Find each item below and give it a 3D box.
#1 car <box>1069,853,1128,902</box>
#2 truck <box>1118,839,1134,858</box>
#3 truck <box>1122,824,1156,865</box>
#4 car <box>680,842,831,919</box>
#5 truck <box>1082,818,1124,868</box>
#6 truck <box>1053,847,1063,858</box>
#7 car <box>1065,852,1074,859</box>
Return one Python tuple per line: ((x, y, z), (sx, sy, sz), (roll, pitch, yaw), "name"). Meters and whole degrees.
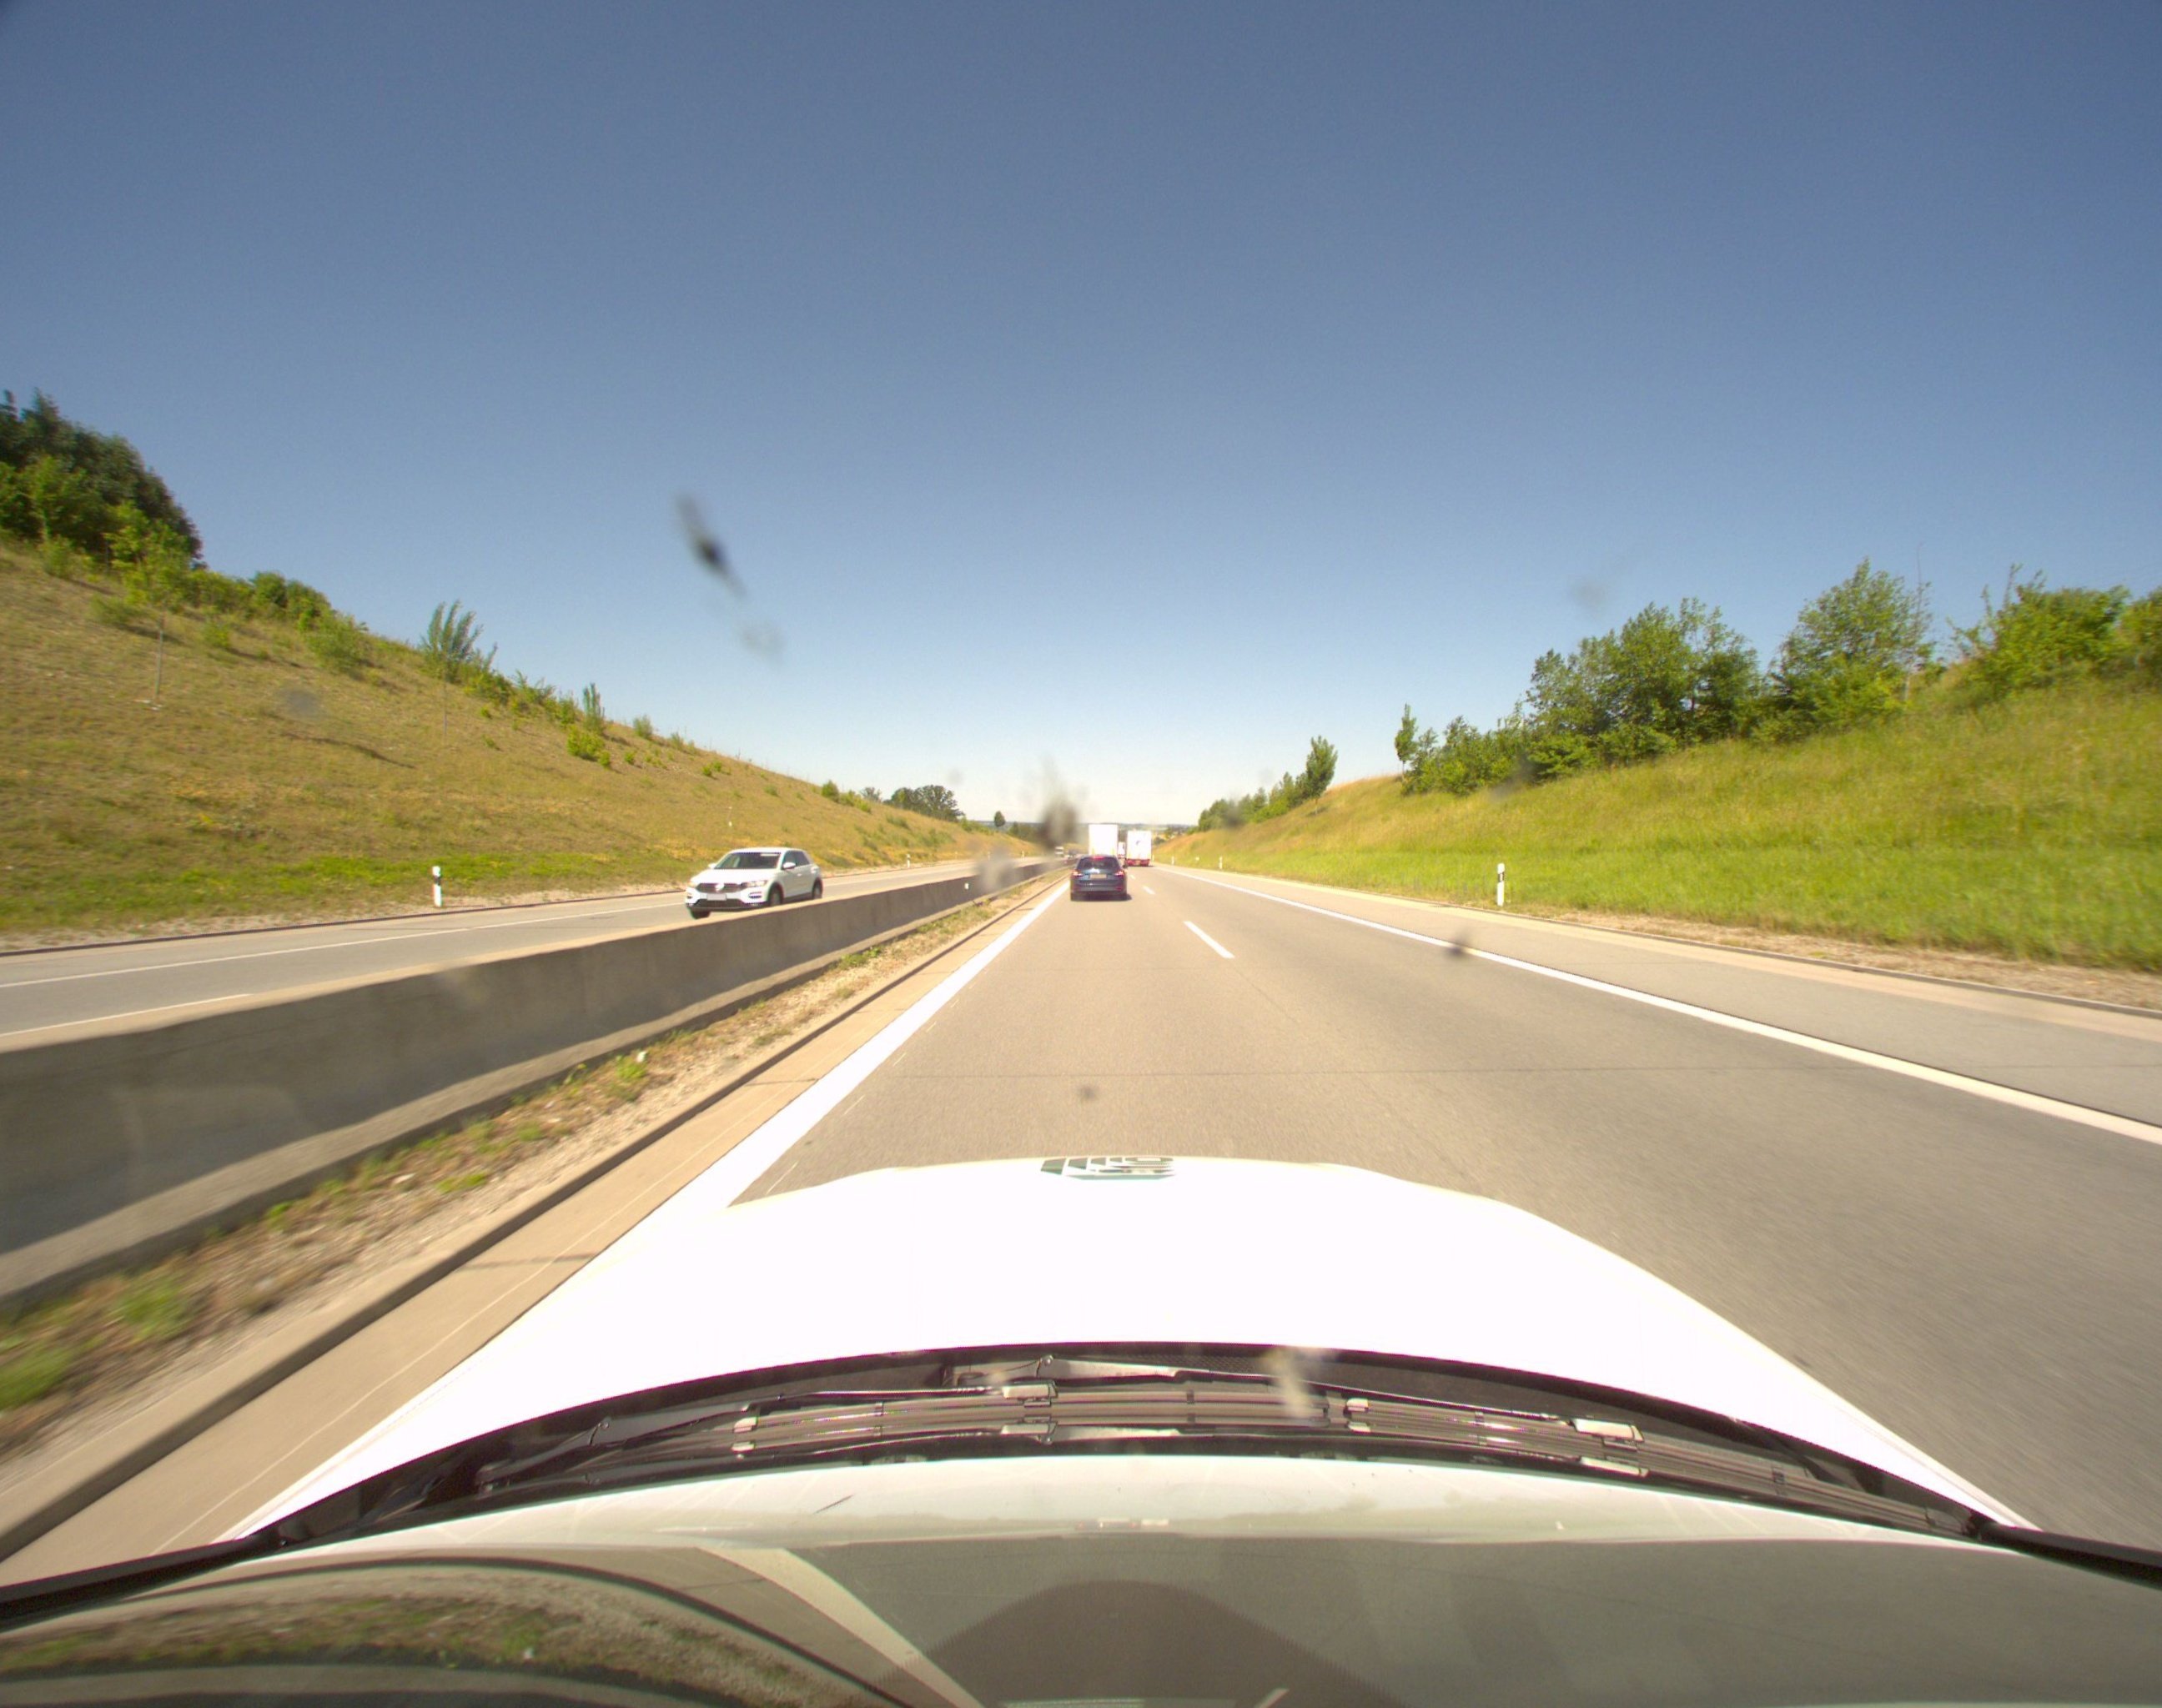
((0.552, 0.711, 26.450), (1.770, 1.441, 3.789), (-1, 0, 1), "car")
((11.059, -1.281, 198.266), (3.588, 4.381, 11.247), (0, 0, 5), "truck")
((6.705, -1.062, 93.763), (3.588, 4.381, 11.247), (0, 0, 5), "truck")
((-7.358, 0.538, 18.858), (1.769, 1.601, 4.041), (0, 0, 2), "car")
((2.216, -0.976, 75.987), (3.195, 4.381, 11.249), (0, 0, 5), "truck")
((-5.434, -0.434, 193.187), (1.986, 2.448, 5.669), (1, 0, 1), "truck")
((-2.305, 0.246, 167.858), (1.768, 1.449, 4.183), (0, 0, 0), "car")
